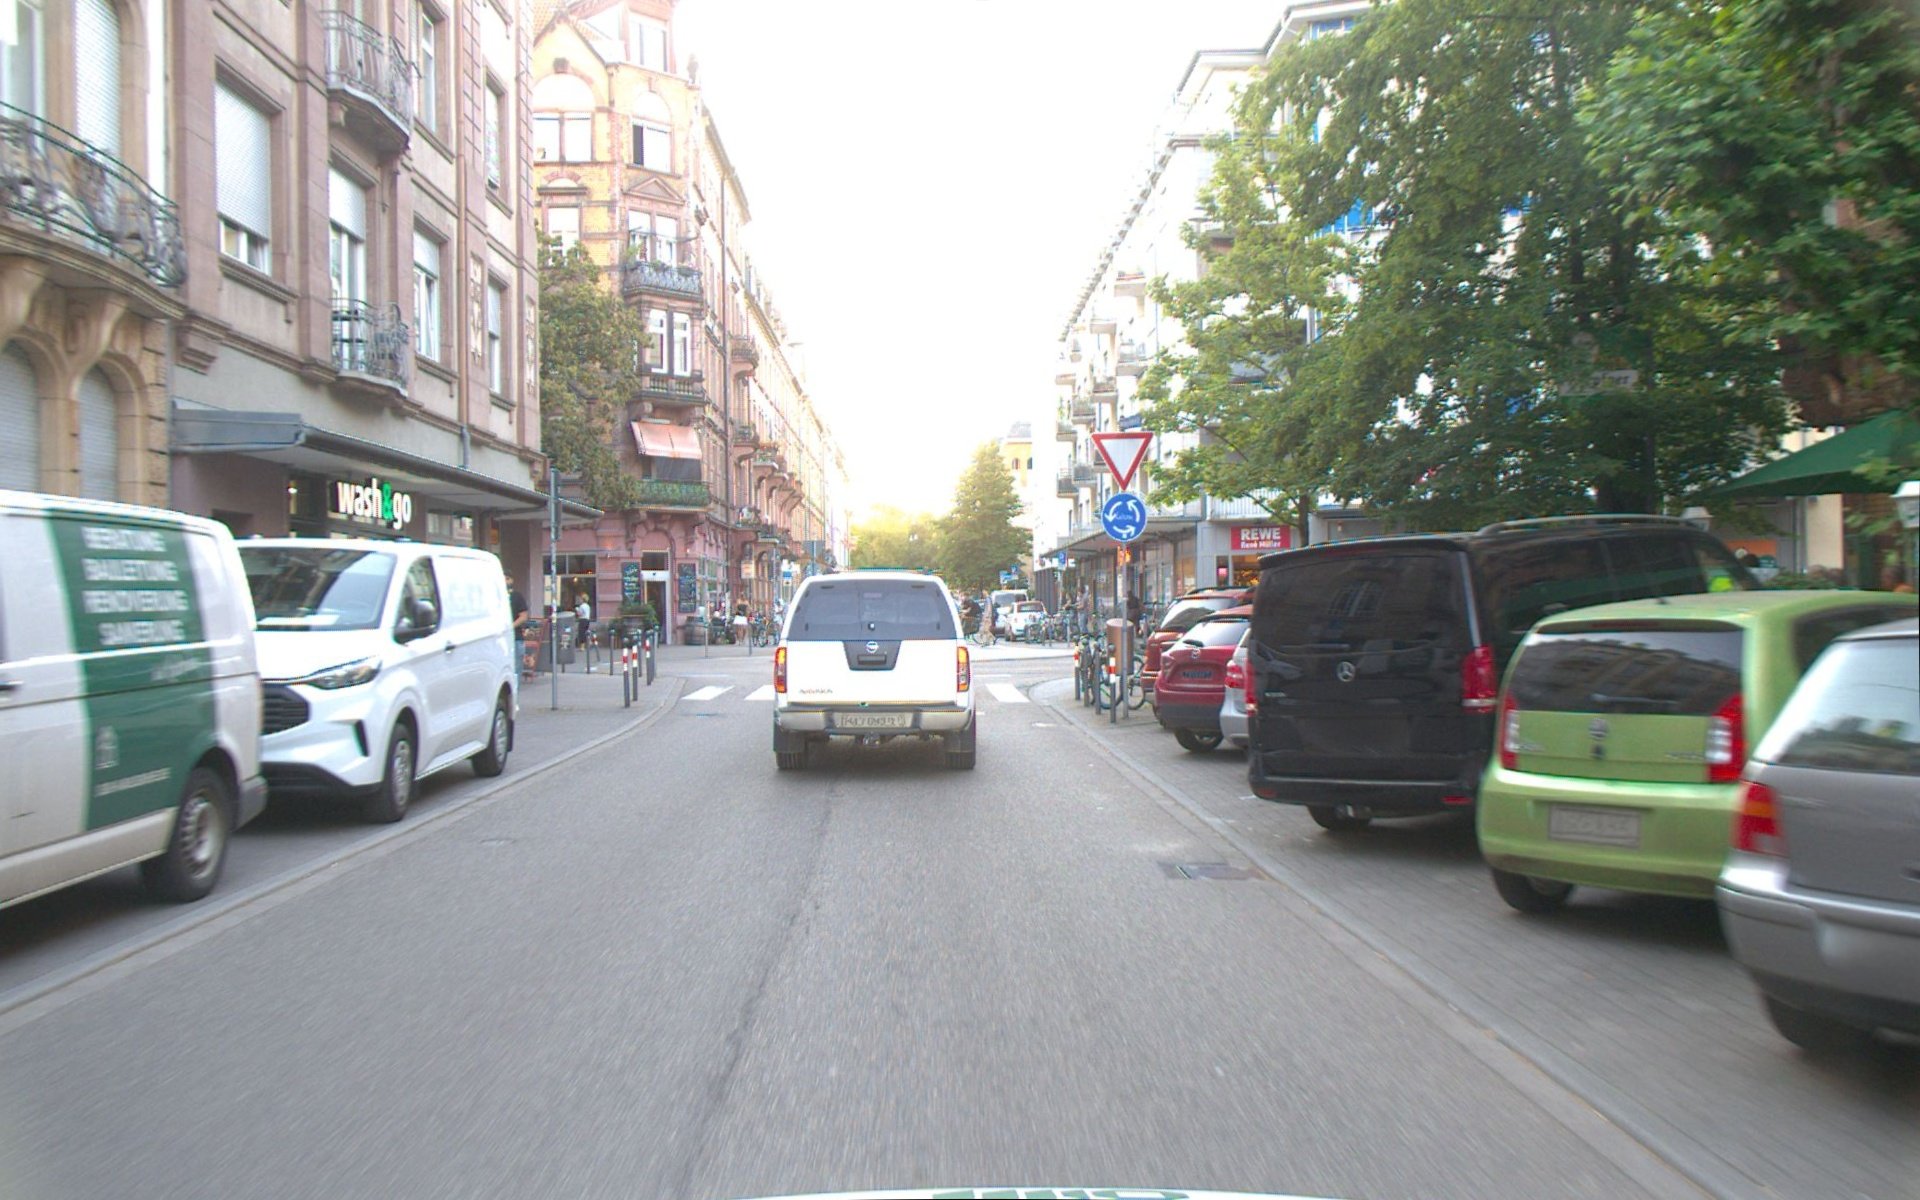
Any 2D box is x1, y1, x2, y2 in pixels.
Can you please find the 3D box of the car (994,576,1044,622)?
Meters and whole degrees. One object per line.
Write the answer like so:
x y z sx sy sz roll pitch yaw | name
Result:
2.578 -0.035 73.186 1.903 1.967 3.998 0 0 -2 | car

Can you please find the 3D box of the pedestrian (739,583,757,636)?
-7.488 0.329 58.485 0.497 1.872 0.568 1 -1 -24 | pedestrian

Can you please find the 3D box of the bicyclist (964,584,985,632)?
0.614 0.329 68.171 0.820 1.978 0.785 0 -1 3 | bicyclist

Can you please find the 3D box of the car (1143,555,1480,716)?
4.314 0.357 20.085 4.000 1.656 1.673 -3 2 -34 | car

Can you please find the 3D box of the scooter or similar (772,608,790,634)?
-6.454 0.753 59.599 0.230 0.945 1.255 1 -1 -26 | scooter or similar

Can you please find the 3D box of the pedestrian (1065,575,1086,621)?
4.294 -0.067 61.662 0.705 1.692 0.702 0 -1 -1 | pedestrian

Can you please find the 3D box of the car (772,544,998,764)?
-0.621 0.473 16.450 1.898 1.842 5.000 0 0 0 | car

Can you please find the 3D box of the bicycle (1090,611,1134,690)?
2.144 0.695 23.411 0.357 1.082 1.550 0 -1 -5 | bicycle

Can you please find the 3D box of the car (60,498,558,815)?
-4.664 0.344 12.831 2.067 1.955 5.023 -1 0 -3 | car

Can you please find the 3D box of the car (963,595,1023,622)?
2.162 0.559 109.409 3.907 1.780 1.840 0 -1 -3 | car

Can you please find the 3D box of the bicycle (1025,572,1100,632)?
3.571 0.079 57.769 2.593 2.049 0.638 0 -1 -1 | bicycle

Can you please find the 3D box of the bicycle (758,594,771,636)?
-6.873 0.533 58.150 0.415 1.468 1.902 0 -1 -6 | bicycle

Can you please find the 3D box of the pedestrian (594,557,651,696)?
-4.615 0.361 22.643 0.525 1.855 0.997 0 -1 2 | pedestrian

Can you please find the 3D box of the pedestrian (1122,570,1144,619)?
5.980 -0.183 57.210 0.705 1.692 0.702 0 -1 0 | pedestrian

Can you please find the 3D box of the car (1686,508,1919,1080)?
4.443 0.409 5.463 4.059 1.578 1.798 -4 1 -33 | car

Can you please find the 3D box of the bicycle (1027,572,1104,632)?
3.630 0.073 56.956 2.593 2.049 0.638 0 -1 -1 | bicycle

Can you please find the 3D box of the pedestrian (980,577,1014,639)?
1.159 0.253 52.339 0.895 1.918 0.609 1 -1 -32 | pedestrian

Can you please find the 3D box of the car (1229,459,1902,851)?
4.410 0.175 11.481 5.387 2.108 1.905 -4 1 -40 | car

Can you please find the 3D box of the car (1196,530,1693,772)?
4.258 0.345 14.312 4.177 1.650 1.909 -4 1 -35 | car

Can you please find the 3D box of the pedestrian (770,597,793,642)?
-6.639 0.730 61.513 0.782 1.649 0.944 0 -1 -4 | pedestrian

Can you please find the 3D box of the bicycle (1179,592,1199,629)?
7.082 0.338 51.176 0.284 1.132 0.963 1 -1 -14 | bicycle

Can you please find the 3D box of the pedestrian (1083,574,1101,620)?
5.568 -0.120 69.800 0.705 1.940 0.702 0 -1 -1 | pedestrian

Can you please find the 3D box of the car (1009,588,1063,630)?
2.925 0.366 64.412 1.798 1.569 3.998 0 0 -2 | car

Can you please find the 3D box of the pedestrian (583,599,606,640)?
-11.464 0.620 51.884 0.446 1.284 0.575 0 -1 23 | pedestrian

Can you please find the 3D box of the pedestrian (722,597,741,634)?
-8.197 0.555 59.432 0.636 1.308 0.539 0 -1 -6 | pedestrian

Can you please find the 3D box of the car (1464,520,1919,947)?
4.579 0.417 8.148 4.059 1.578 1.798 -4 1 -33 | car

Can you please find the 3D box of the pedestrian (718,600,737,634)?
-8.196 0.595 58.245 0.636 1.211 0.539 0 -1 -6 | pedestrian

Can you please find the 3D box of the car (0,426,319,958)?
-4.438 0.346 6.737 1.799 1.955 4.845 -1 0 -1 | car

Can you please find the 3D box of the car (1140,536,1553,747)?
3.990 0.339 16.738 4.186 1.717 1.905 -4 1 -40 | car

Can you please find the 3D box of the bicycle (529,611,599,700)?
-5.377 0.735 22.528 0.461 1.162 1.785 0 -1 2 | bicycle
